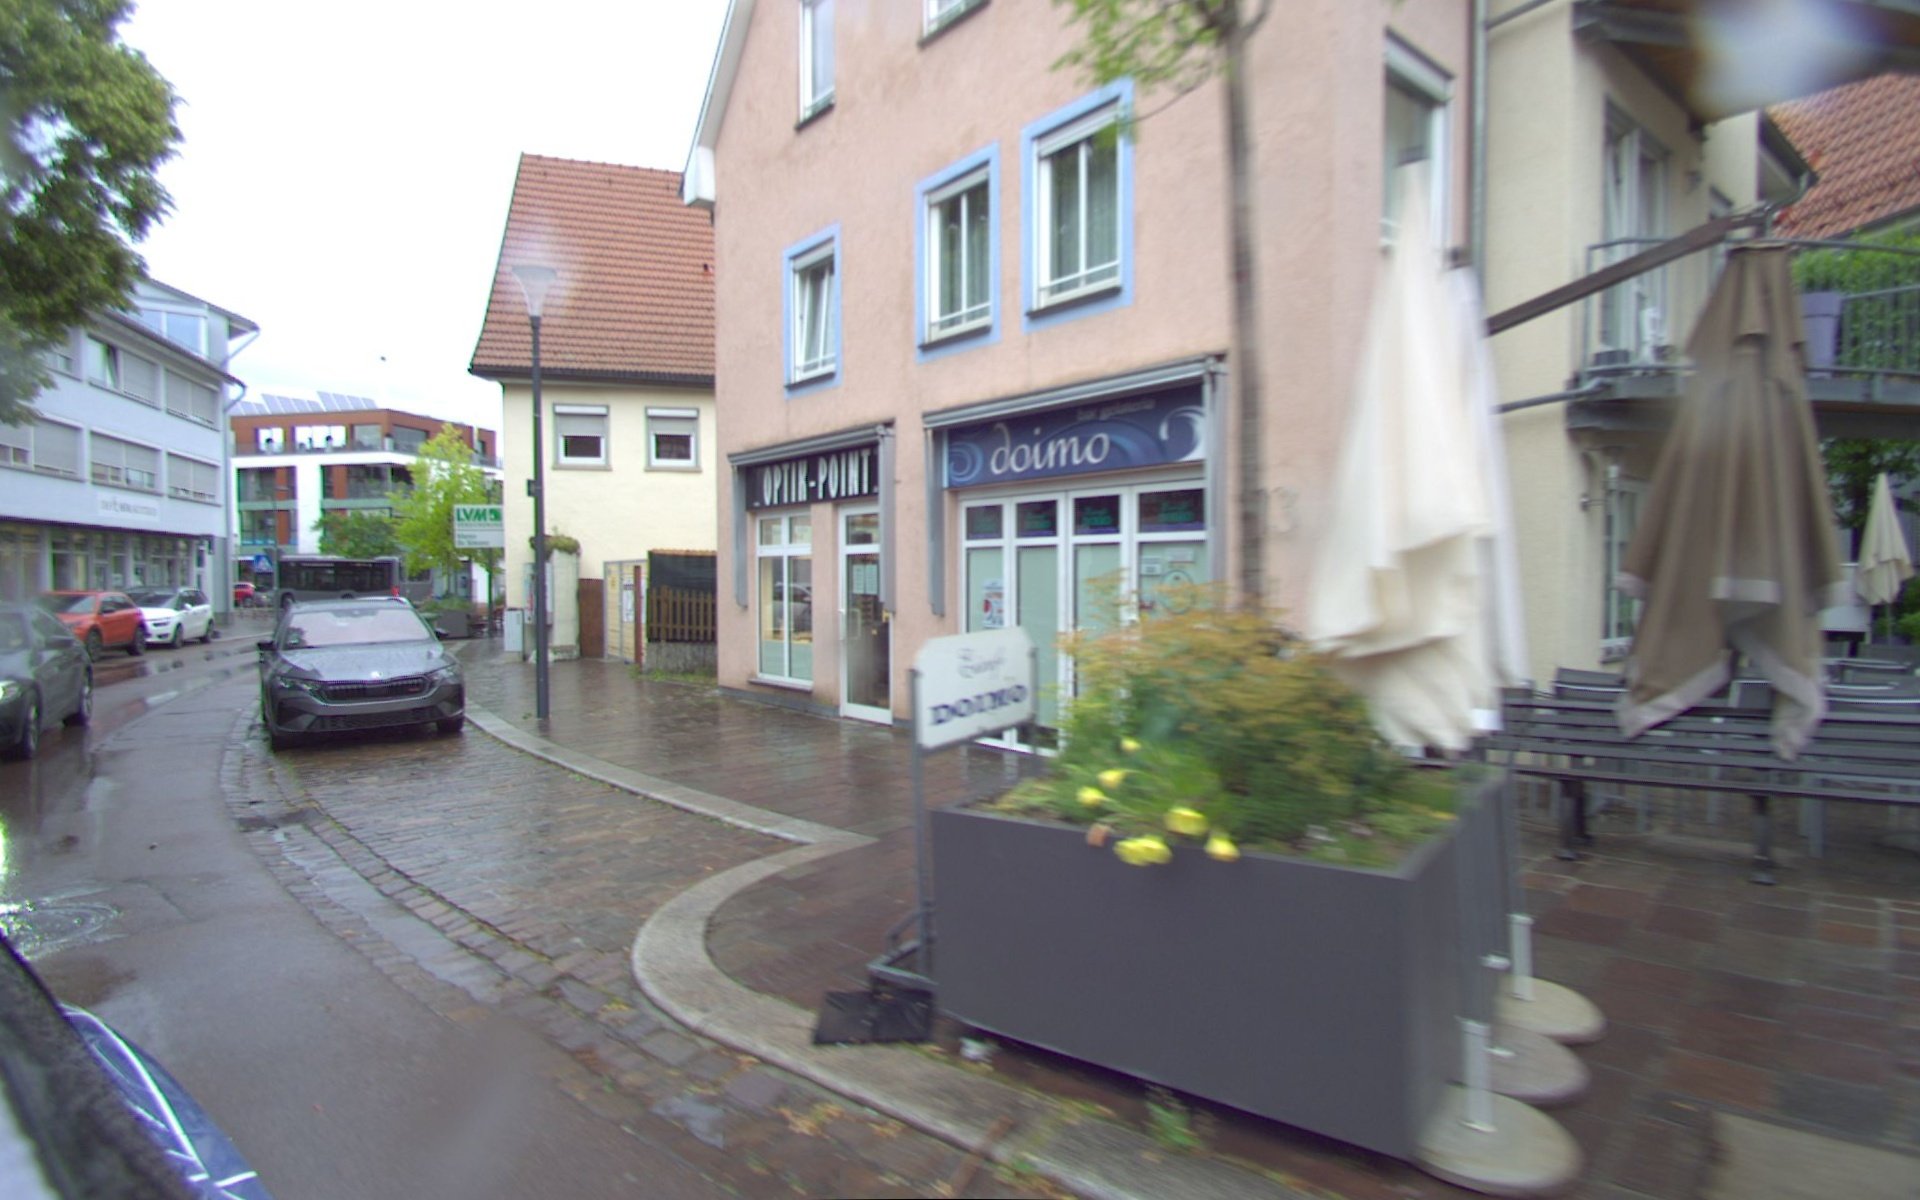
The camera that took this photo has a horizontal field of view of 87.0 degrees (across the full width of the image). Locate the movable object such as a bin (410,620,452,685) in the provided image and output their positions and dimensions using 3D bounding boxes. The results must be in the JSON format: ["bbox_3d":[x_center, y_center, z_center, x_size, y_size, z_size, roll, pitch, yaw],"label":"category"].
[{"bbox_3d":[-9.503,0.931,18.194,0.650,1.117,0.626,1,0,-27],"label":"movable object such as a bin"}]

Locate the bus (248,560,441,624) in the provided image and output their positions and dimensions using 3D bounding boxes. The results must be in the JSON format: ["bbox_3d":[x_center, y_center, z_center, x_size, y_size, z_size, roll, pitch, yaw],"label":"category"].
[{"bbox_3d":[-33.829,-0.487,55.586,10.600,3.325,2.665,1,0,17],"label":"bus"}]

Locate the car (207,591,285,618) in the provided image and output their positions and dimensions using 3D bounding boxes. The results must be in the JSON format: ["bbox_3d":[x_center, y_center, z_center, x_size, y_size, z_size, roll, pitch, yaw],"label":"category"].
[{"bbox_3d":[-44.720,0.268,63.415,3.954,1.586,1.715,1,0,9],"label":"car"}]

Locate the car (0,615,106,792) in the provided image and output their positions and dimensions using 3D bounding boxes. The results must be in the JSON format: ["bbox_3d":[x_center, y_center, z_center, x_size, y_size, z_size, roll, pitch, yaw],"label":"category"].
[{"bbox_3d":[-9.977,0.885,9.833,1.966,1.417,4.907,0,0,-33],"label":"car"}]

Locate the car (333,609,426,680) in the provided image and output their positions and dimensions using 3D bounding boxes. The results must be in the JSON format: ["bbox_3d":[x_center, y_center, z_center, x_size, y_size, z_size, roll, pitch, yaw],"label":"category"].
[{"bbox_3d":[-13.135,0.931,22.871,1.666,1.433,3.828,1,0,-31],"label":"car"}]

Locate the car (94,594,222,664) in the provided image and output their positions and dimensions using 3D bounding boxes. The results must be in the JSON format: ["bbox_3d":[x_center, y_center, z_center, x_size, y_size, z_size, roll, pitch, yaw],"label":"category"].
[{"bbox_3d":[-21.703,0.718,27.556,1.666,1.702,4.293,1,1,-24],"label":"car"}]

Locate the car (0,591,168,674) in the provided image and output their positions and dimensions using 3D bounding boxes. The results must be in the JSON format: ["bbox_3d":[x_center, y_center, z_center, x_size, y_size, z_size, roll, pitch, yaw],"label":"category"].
[{"bbox_3d":[-19.934,0.662,23.215,1.666,1.702,3.971,1,1,-21],"label":"car"}]

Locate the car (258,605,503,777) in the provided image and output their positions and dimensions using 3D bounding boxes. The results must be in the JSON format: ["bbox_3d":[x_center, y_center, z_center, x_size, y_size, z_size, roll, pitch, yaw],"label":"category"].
[{"bbox_3d":[-6.751,0.838,11.540,1.967,1.465,4.385,0,1,-36],"label":"car"}]

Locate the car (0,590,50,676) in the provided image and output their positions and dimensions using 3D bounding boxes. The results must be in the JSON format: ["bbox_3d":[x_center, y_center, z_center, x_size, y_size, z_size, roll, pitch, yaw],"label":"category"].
[{"bbox_3d":[-17.876,0.574,17.514,1.666,1.551,4.417,1,-1,-21],"label":"car"}]
